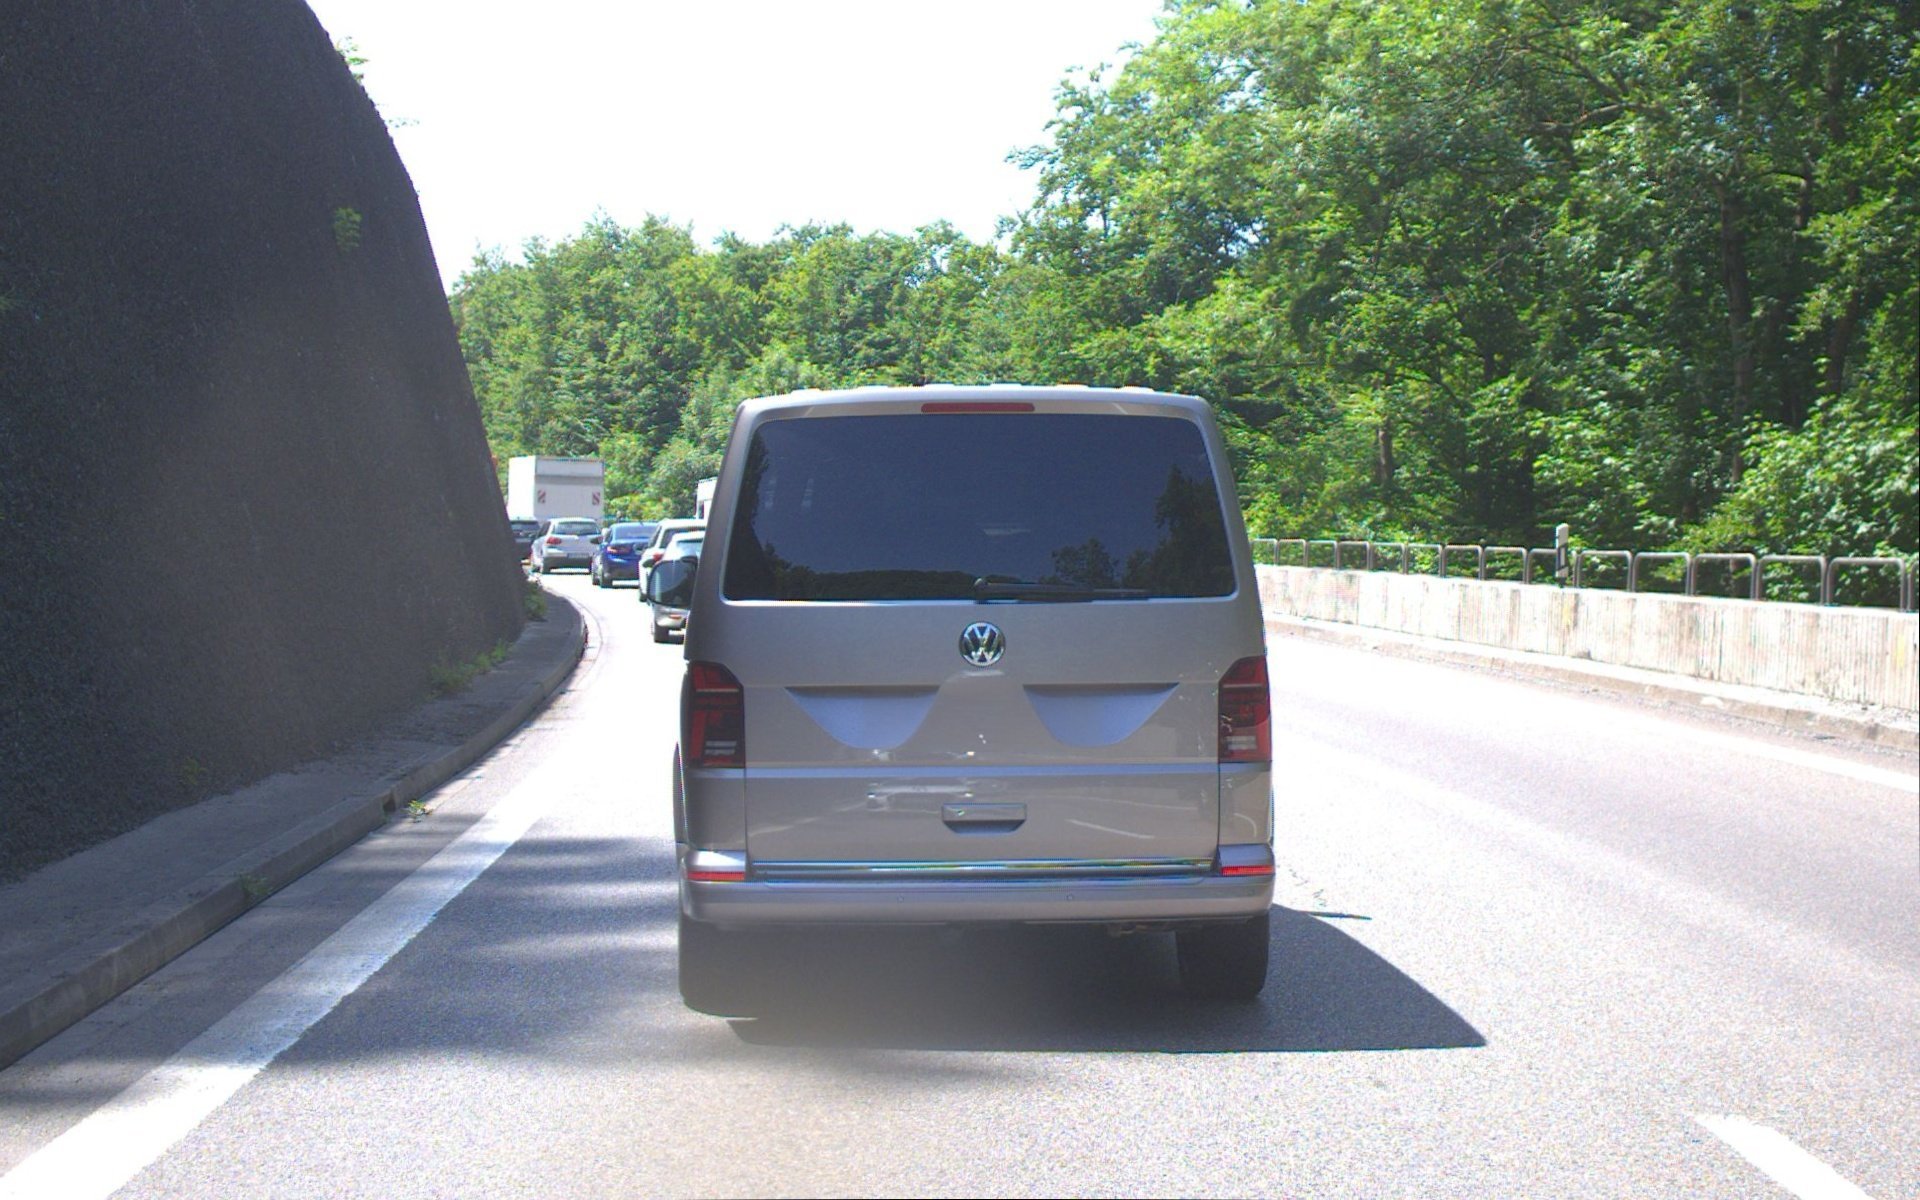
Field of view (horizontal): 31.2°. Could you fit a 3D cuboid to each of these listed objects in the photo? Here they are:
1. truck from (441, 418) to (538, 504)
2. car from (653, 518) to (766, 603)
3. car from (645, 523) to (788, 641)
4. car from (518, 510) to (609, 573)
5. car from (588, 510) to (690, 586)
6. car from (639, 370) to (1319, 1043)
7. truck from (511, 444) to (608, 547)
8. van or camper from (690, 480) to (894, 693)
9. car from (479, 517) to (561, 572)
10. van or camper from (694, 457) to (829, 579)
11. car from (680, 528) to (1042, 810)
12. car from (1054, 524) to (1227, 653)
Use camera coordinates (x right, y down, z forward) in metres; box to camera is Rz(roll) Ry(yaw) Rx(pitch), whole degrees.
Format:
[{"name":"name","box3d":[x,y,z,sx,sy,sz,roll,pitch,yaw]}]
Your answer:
[{"name":"truck","box3d":[-20.955,-6.170,152.687,3.162,3.456,8.225,5,1,-14]},{"name":"car","box3d":[-4.590,-0.745,62.613,1.862,1.481,4.001,0,1,-7]},{"name":"car","box3d":[-3.247,-0.265,45.285,1.771,1.467,4.001,0,1,-6]},{"name":"car","box3d":[-10.478,-1.567,90.689,1.993,1.612,4.001,0,1,-12]},{"name":"car","box3d":[-7.115,-1.165,75.935,1.857,1.614,4.001,1,1,-11]},{"name":"car","box3d":[0.006,0.256,12.289,1.940,1.924,4.695,1,1,-1]},{"name":"truck","box3d":[-14.786,-3.820,126.562,2.924,3.674,7.727,0,1,-11]},{"name":"van or camper","box3d":[-1.653,-0.170,33.328,1.853,1.935,4.166,0,1,-4]},{"name":"car","box3d":[-13.157,-1.674,102.684,1.750,1.565,3.772,1,1,-17]},{"name":"van or camper","box3d":[-5.156,-2.145,88.454,2.603,2.845,6.338,4,1,-9]},{"name":"car","box3d":[-0.714,0.335,20.960,1.904,1.484,4.380,2,1,-5]},{"name":"car","box3d":[2.164,-0.178,42.125,1.685,1.453,4.001,2,1,-3]}]
